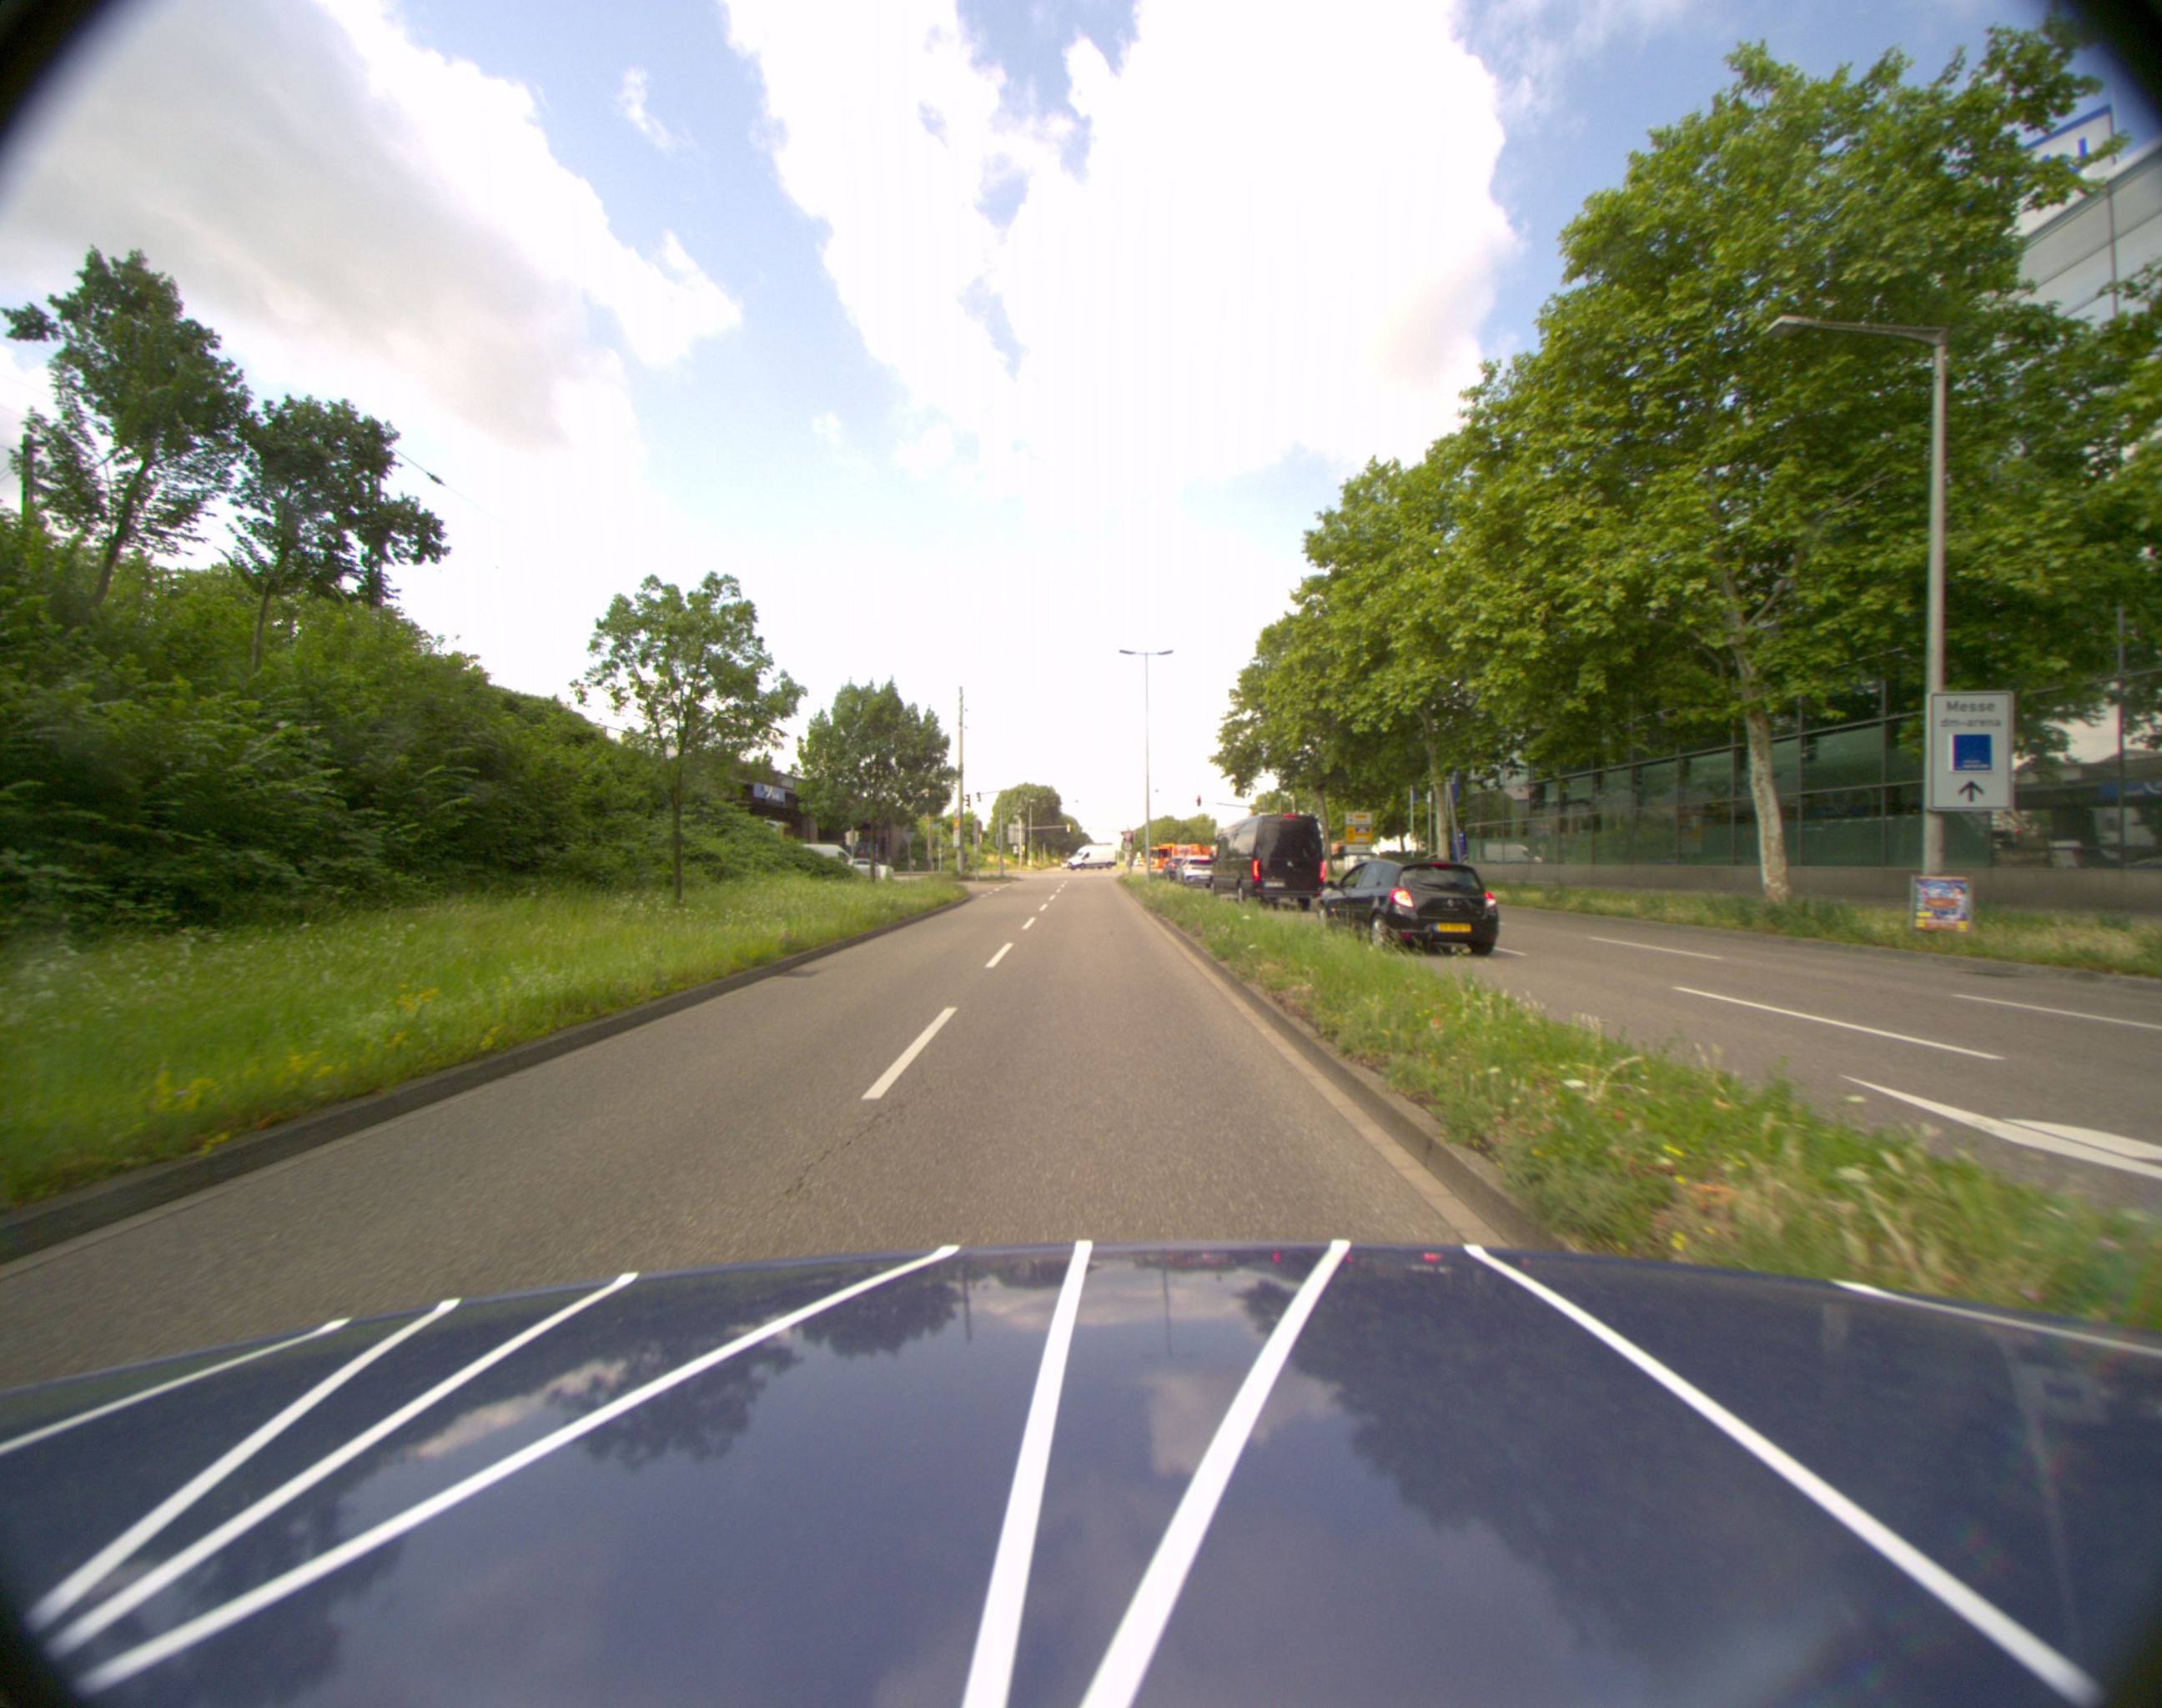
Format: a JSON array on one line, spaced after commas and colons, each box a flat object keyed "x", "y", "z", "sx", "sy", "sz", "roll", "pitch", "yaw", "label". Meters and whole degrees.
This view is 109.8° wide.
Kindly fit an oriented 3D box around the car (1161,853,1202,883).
[{"x": 5.673, "y": 0.755, "z": 43.392, "sx": 1.712, "sy": 1.578, "sz": 4.361, "roll": -1, "pitch": 1, "yaw": -1, "label": "car"}]

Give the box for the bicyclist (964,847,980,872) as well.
[{"x": -7.634, "y": 0.367, "z": 53.315, "sx": 0.824, "sy": 1.670, "sz": 0.843, "roll": -3, "pitch": 5, "yaw": -27, "label": "bicyclist"}]

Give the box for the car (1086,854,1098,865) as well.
[{"x": 1.629, "y": 0.823, "z": 113.621, "sx": 1.820, "sy": 1.477, "sz": 4.000, "roll": -1, "pitch": 0, "yaw": 1, "label": "car"}]

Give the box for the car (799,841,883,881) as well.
[{"x": -18.175, "y": 0.447, "z": 57.699, "sx": 5.635, "sy": 2.514, "sz": 2.258, "roll": -4, "pitch": 6, "yaw": -33, "label": "car"}]

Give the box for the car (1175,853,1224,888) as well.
[{"x": 5.725, "y": 0.758, "z": 37.253, "sx": 1.749, "sy": 1.544, "sz": 4.233, "roll": 1, "pitch": 1, "yaw": 1, "label": "car"}]

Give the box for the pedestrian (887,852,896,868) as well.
[{"x": -20.298, "y": 0.667, "z": 81.319, "sx": 0.608, "sy": 1.642, "sz": 0.692, "roll": -1, "pitch": 4, "yaw": 11, "label": "pedestrian"}]

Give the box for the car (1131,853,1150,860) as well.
[{"x": 12.861, "y": 0.488, "z": 164.204, "sx": 3.793, "sy": 1.470, "sz": 1.752, "roll": 1, "pitch": 0, "yaw": 9, "label": "car"}]

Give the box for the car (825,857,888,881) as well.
[{"x": -16.188, "y": 1.039, "z": 54.907, "sx": 4.007, "sy": 1.468, "sz": 1.703, "roll": -3, "pitch": 2, "yaw": -36, "label": "car"}]

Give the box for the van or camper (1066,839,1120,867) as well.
[{"x": 1.366, "y": -0.141, "z": 86.638, "sx": 5.975, "sy": 2.771, "sz": 2.158, "roll": -4, "pitch": 5, "yaw": -36, "label": "van or camper"}]

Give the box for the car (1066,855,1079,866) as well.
[{"x": -1.193, "y": 0.938, "z": 110.143, "sx": 1.716, "sy": 1.477, "sz": 4.000, "roll": -1, "pitch": 0, "yaw": 1, "label": "car"}]

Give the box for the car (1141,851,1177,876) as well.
[{"x": 5.129, "y": 0.598, "z": 50.554, "sx": 1.869, "sy": 1.564, "sz": 4.568, "roll": -1, "pitch": 0, "yaw": 0, "label": "car"}]

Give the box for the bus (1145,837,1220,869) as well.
[{"x": 13.191, "y": -0.235, "z": 98.314, "sx": 10.410, "sy": 3.448, "sz": 2.738, "roll": -4, "pitch": 4, "yaw": -35, "label": "bus"}]

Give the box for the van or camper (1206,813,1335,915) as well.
[{"x": 5.505, "y": 0.244, "z": 23.259, "sx": 2.110, "sy": 2.644, "sz": 6.716, "roll": 0, "pitch": 0, "yaw": -1, "label": "van or camper"}]

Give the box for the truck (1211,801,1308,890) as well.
[{"x": 8.695, "y": -0.390, "z": 38.390, "sx": 2.656, "sy": 3.865, "sz": 10.160, "roll": 1, "pitch": 0, "yaw": 2, "label": "truck"}]

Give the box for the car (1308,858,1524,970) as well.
[{"x": 5.171, "y": 0.827, "z": 12.363, "sx": 1.698, "sy": 1.455, "sz": 3.940, "roll": 0, "pitch": 1, "yaw": -1, "label": "car"}]

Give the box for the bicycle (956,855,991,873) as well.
[{"x": -7.549, "y": 0.672, "z": 53.363, "sx": 2.321, "sy": 1.088, "sz": 0.843, "roll": -3, "pitch": 5, "yaw": -27, "label": "bicycle"}]
